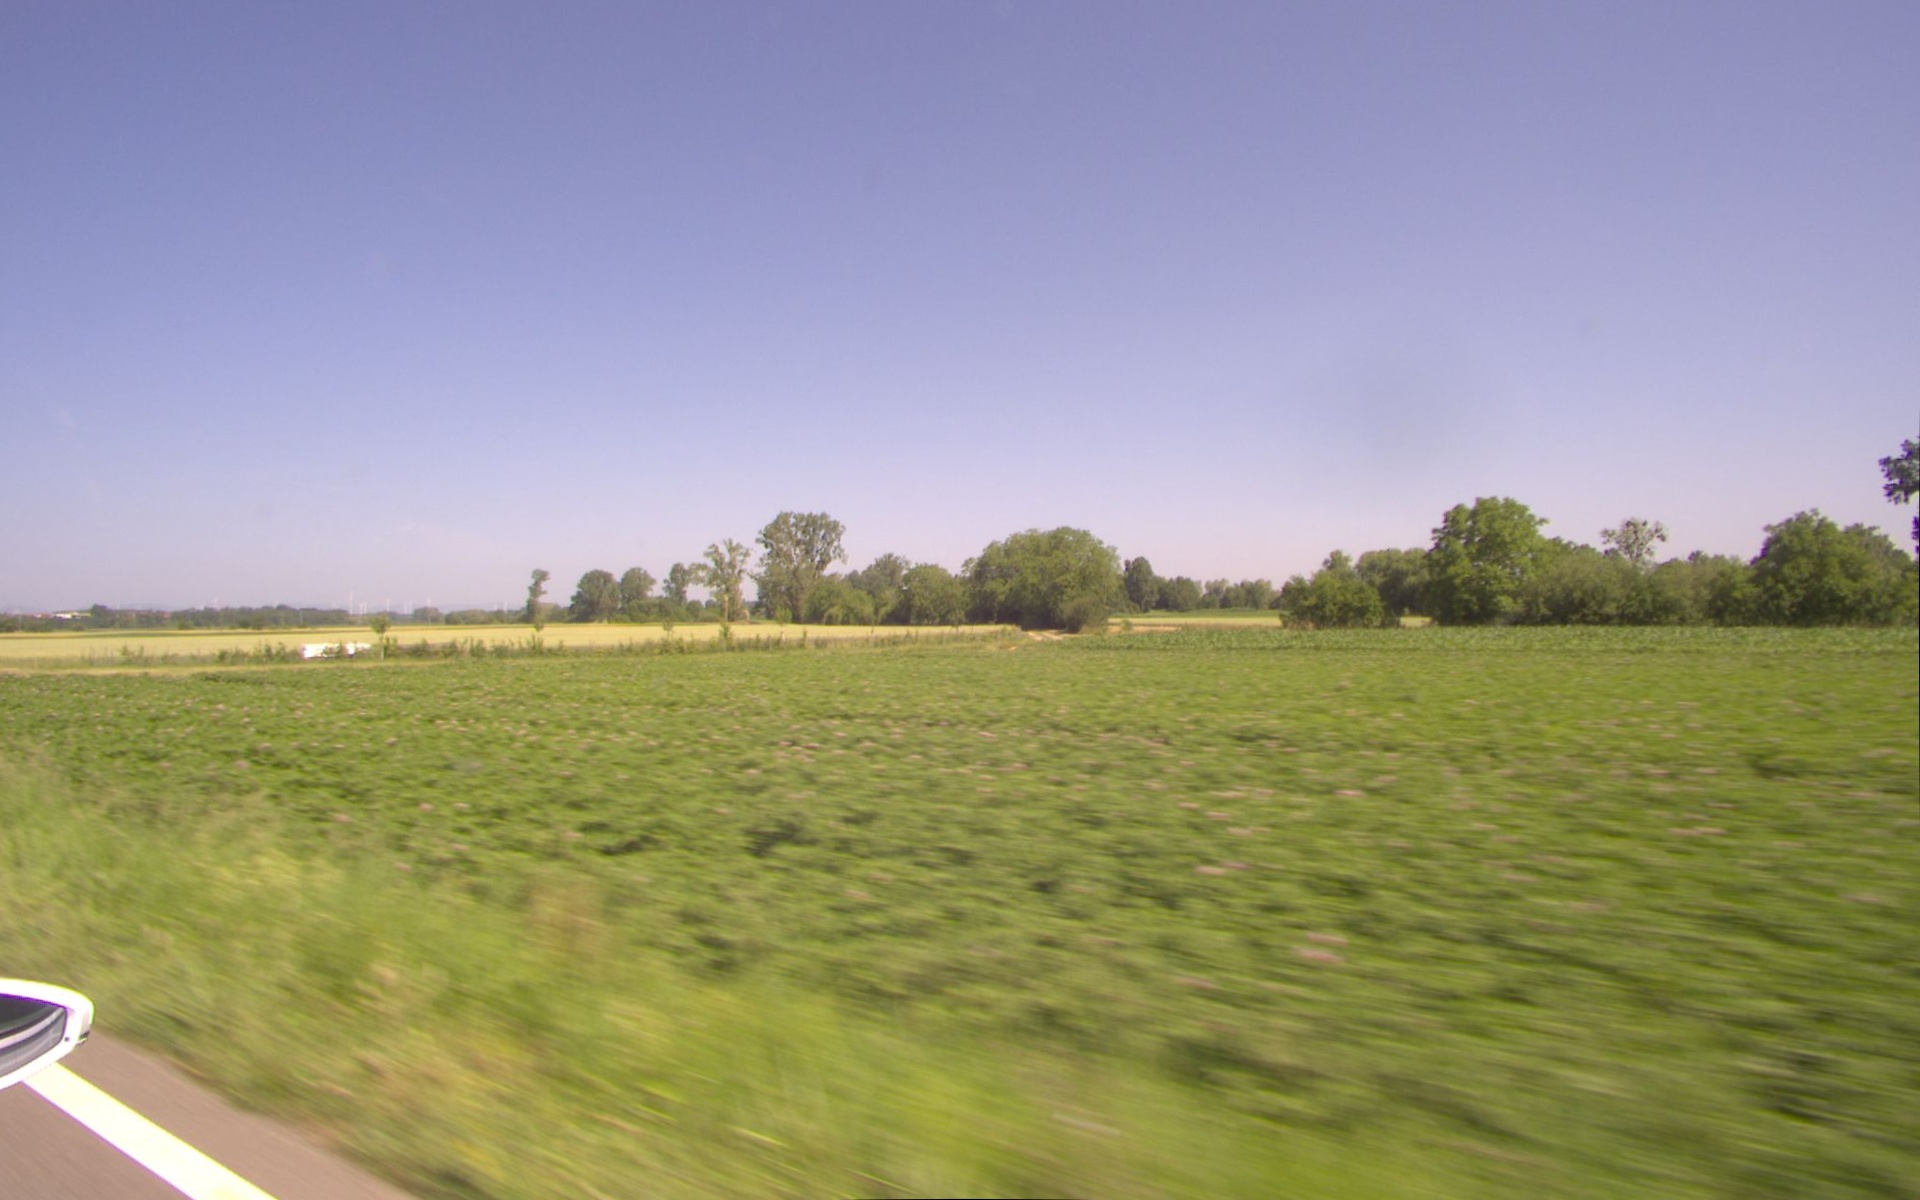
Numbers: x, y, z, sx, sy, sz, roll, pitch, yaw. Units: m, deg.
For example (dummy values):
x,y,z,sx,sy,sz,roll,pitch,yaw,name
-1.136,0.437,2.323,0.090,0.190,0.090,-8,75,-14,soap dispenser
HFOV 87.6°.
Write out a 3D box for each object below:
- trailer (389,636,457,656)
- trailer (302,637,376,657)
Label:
x,y,z,sx,sy,sz,roll,pitch,yaw,name
-34.640,2.954,64.633,1.646,1.204,3.518,-2,-3,44,trailer
-37.942,2.890,61.253,1.646,1.204,3.566,-2,-3,44,trailer
